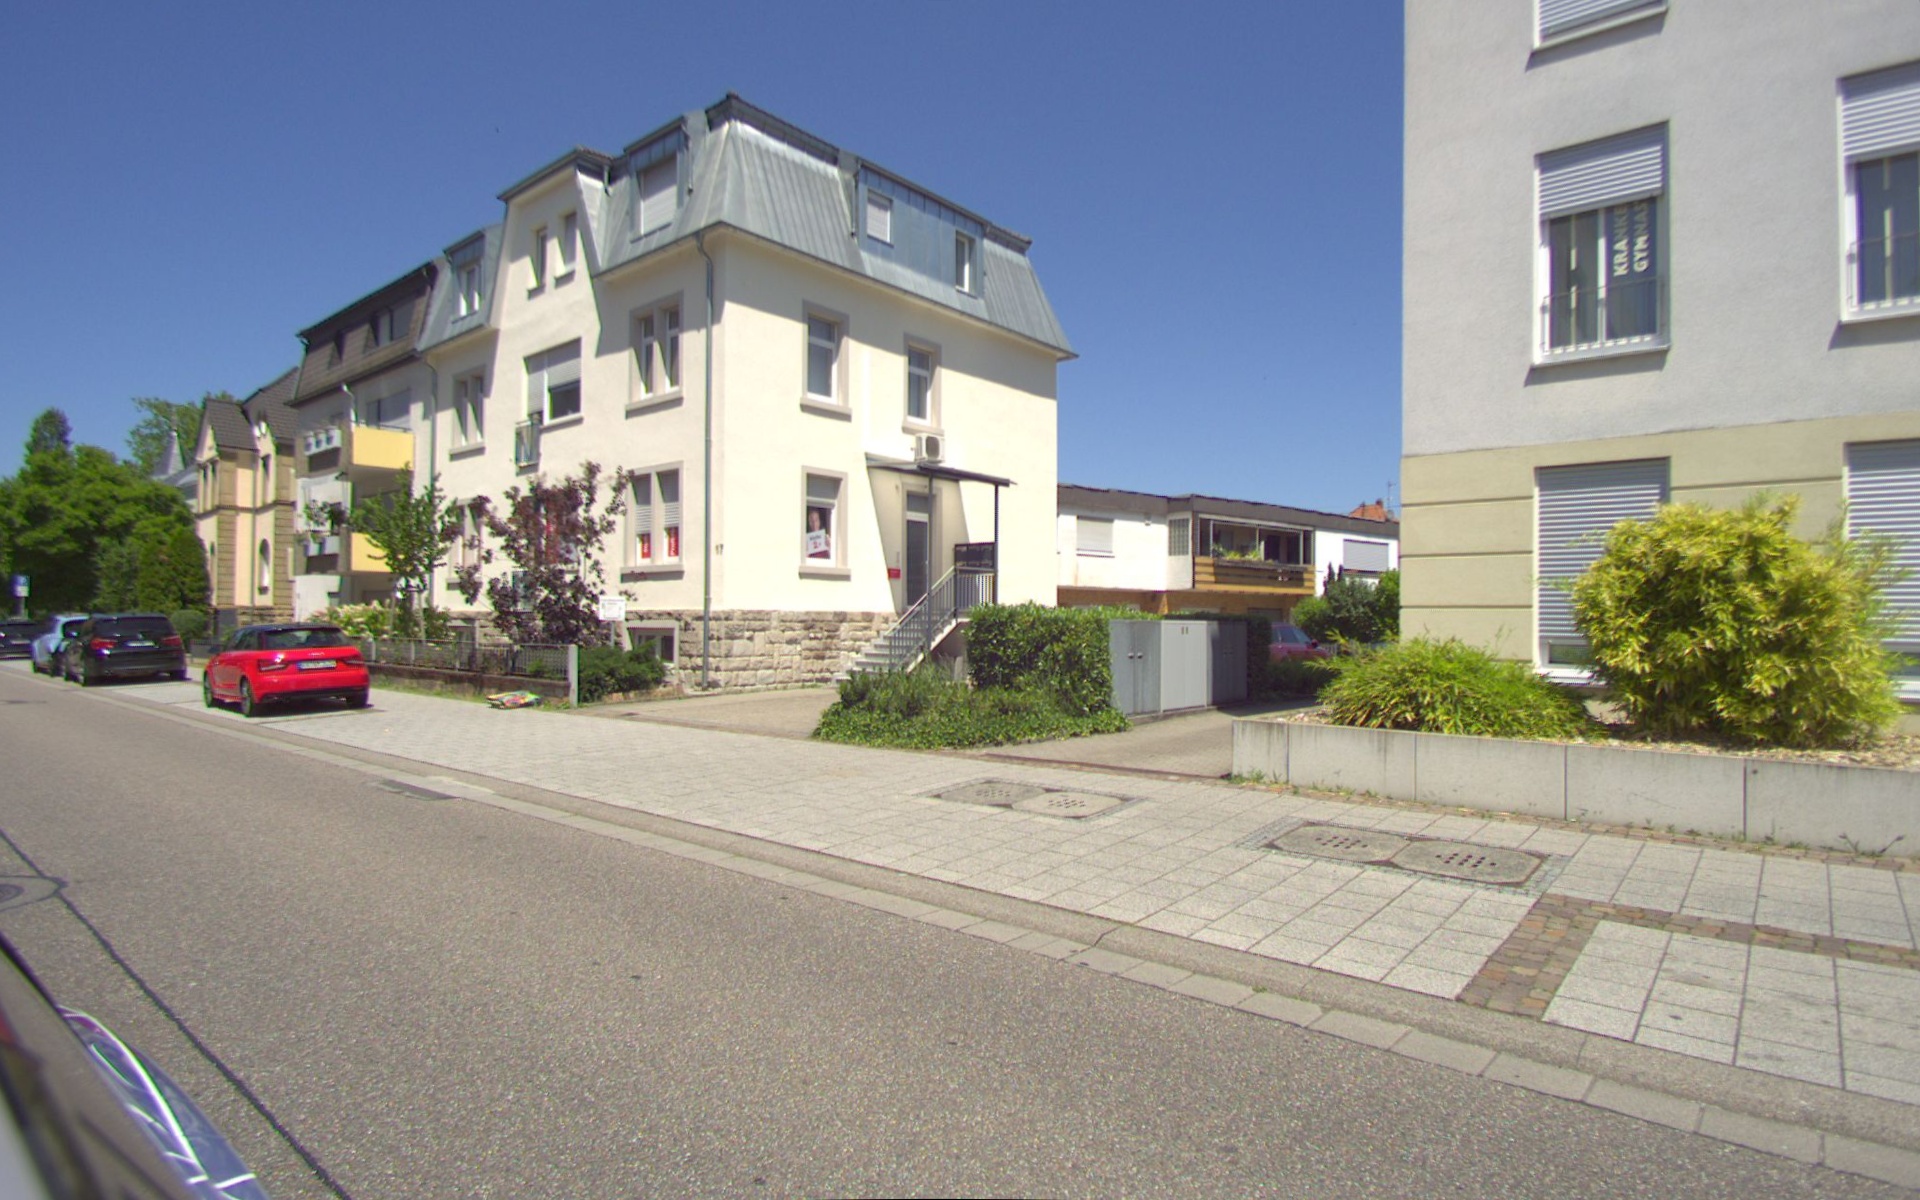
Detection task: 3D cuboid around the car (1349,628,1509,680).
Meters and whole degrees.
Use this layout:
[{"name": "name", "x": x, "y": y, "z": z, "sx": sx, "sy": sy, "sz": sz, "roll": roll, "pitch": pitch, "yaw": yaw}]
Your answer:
[{"name": "car", "x": 14.138, "y": 1.593, "z": 30.613, "sx": 4.042, "sy": 1.449, "sz": 1.930, "roll": -1, "pitch": -2, "yaw": 41}]

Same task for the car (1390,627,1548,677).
[{"name": "car", "x": 16.196, "y": 1.604, "z": 32.282, "sx": 4.183, "sy": 1.486, "sz": 1.973, "roll": -1, "pitch": -2, "yaw": 40}]

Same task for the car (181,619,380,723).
[{"name": "car", "x": -11.460, "y": 1.087, "z": 16.955, "sx": 4.258, "sy": 1.463, "sz": 1.714, "roll": -1, "pitch": 1, "yaw": 41}]

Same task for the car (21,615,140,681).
[{"name": "car", "x": -24.248, "y": 1.261, "z": 27.854, "sx": 4.285, "sy": 1.598, "sz": 1.900, "roll": -1, "pitch": 1, "yaw": 41}]

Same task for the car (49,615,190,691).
[{"name": "car", "x": -20.138, "y": 1.194, "z": 24.177, "sx": 4.433, "sy": 1.598, "sz": 1.900, "roll": -1, "pitch": 1, "yaw": 41}]

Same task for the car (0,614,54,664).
[{"name": "car", "x": -35.027, "y": 1.417, "z": 37.379, "sx": 4.286, "sy": 1.703, "sz": 1.900, "roll": -1, "pitch": 1, "yaw": 42}]
